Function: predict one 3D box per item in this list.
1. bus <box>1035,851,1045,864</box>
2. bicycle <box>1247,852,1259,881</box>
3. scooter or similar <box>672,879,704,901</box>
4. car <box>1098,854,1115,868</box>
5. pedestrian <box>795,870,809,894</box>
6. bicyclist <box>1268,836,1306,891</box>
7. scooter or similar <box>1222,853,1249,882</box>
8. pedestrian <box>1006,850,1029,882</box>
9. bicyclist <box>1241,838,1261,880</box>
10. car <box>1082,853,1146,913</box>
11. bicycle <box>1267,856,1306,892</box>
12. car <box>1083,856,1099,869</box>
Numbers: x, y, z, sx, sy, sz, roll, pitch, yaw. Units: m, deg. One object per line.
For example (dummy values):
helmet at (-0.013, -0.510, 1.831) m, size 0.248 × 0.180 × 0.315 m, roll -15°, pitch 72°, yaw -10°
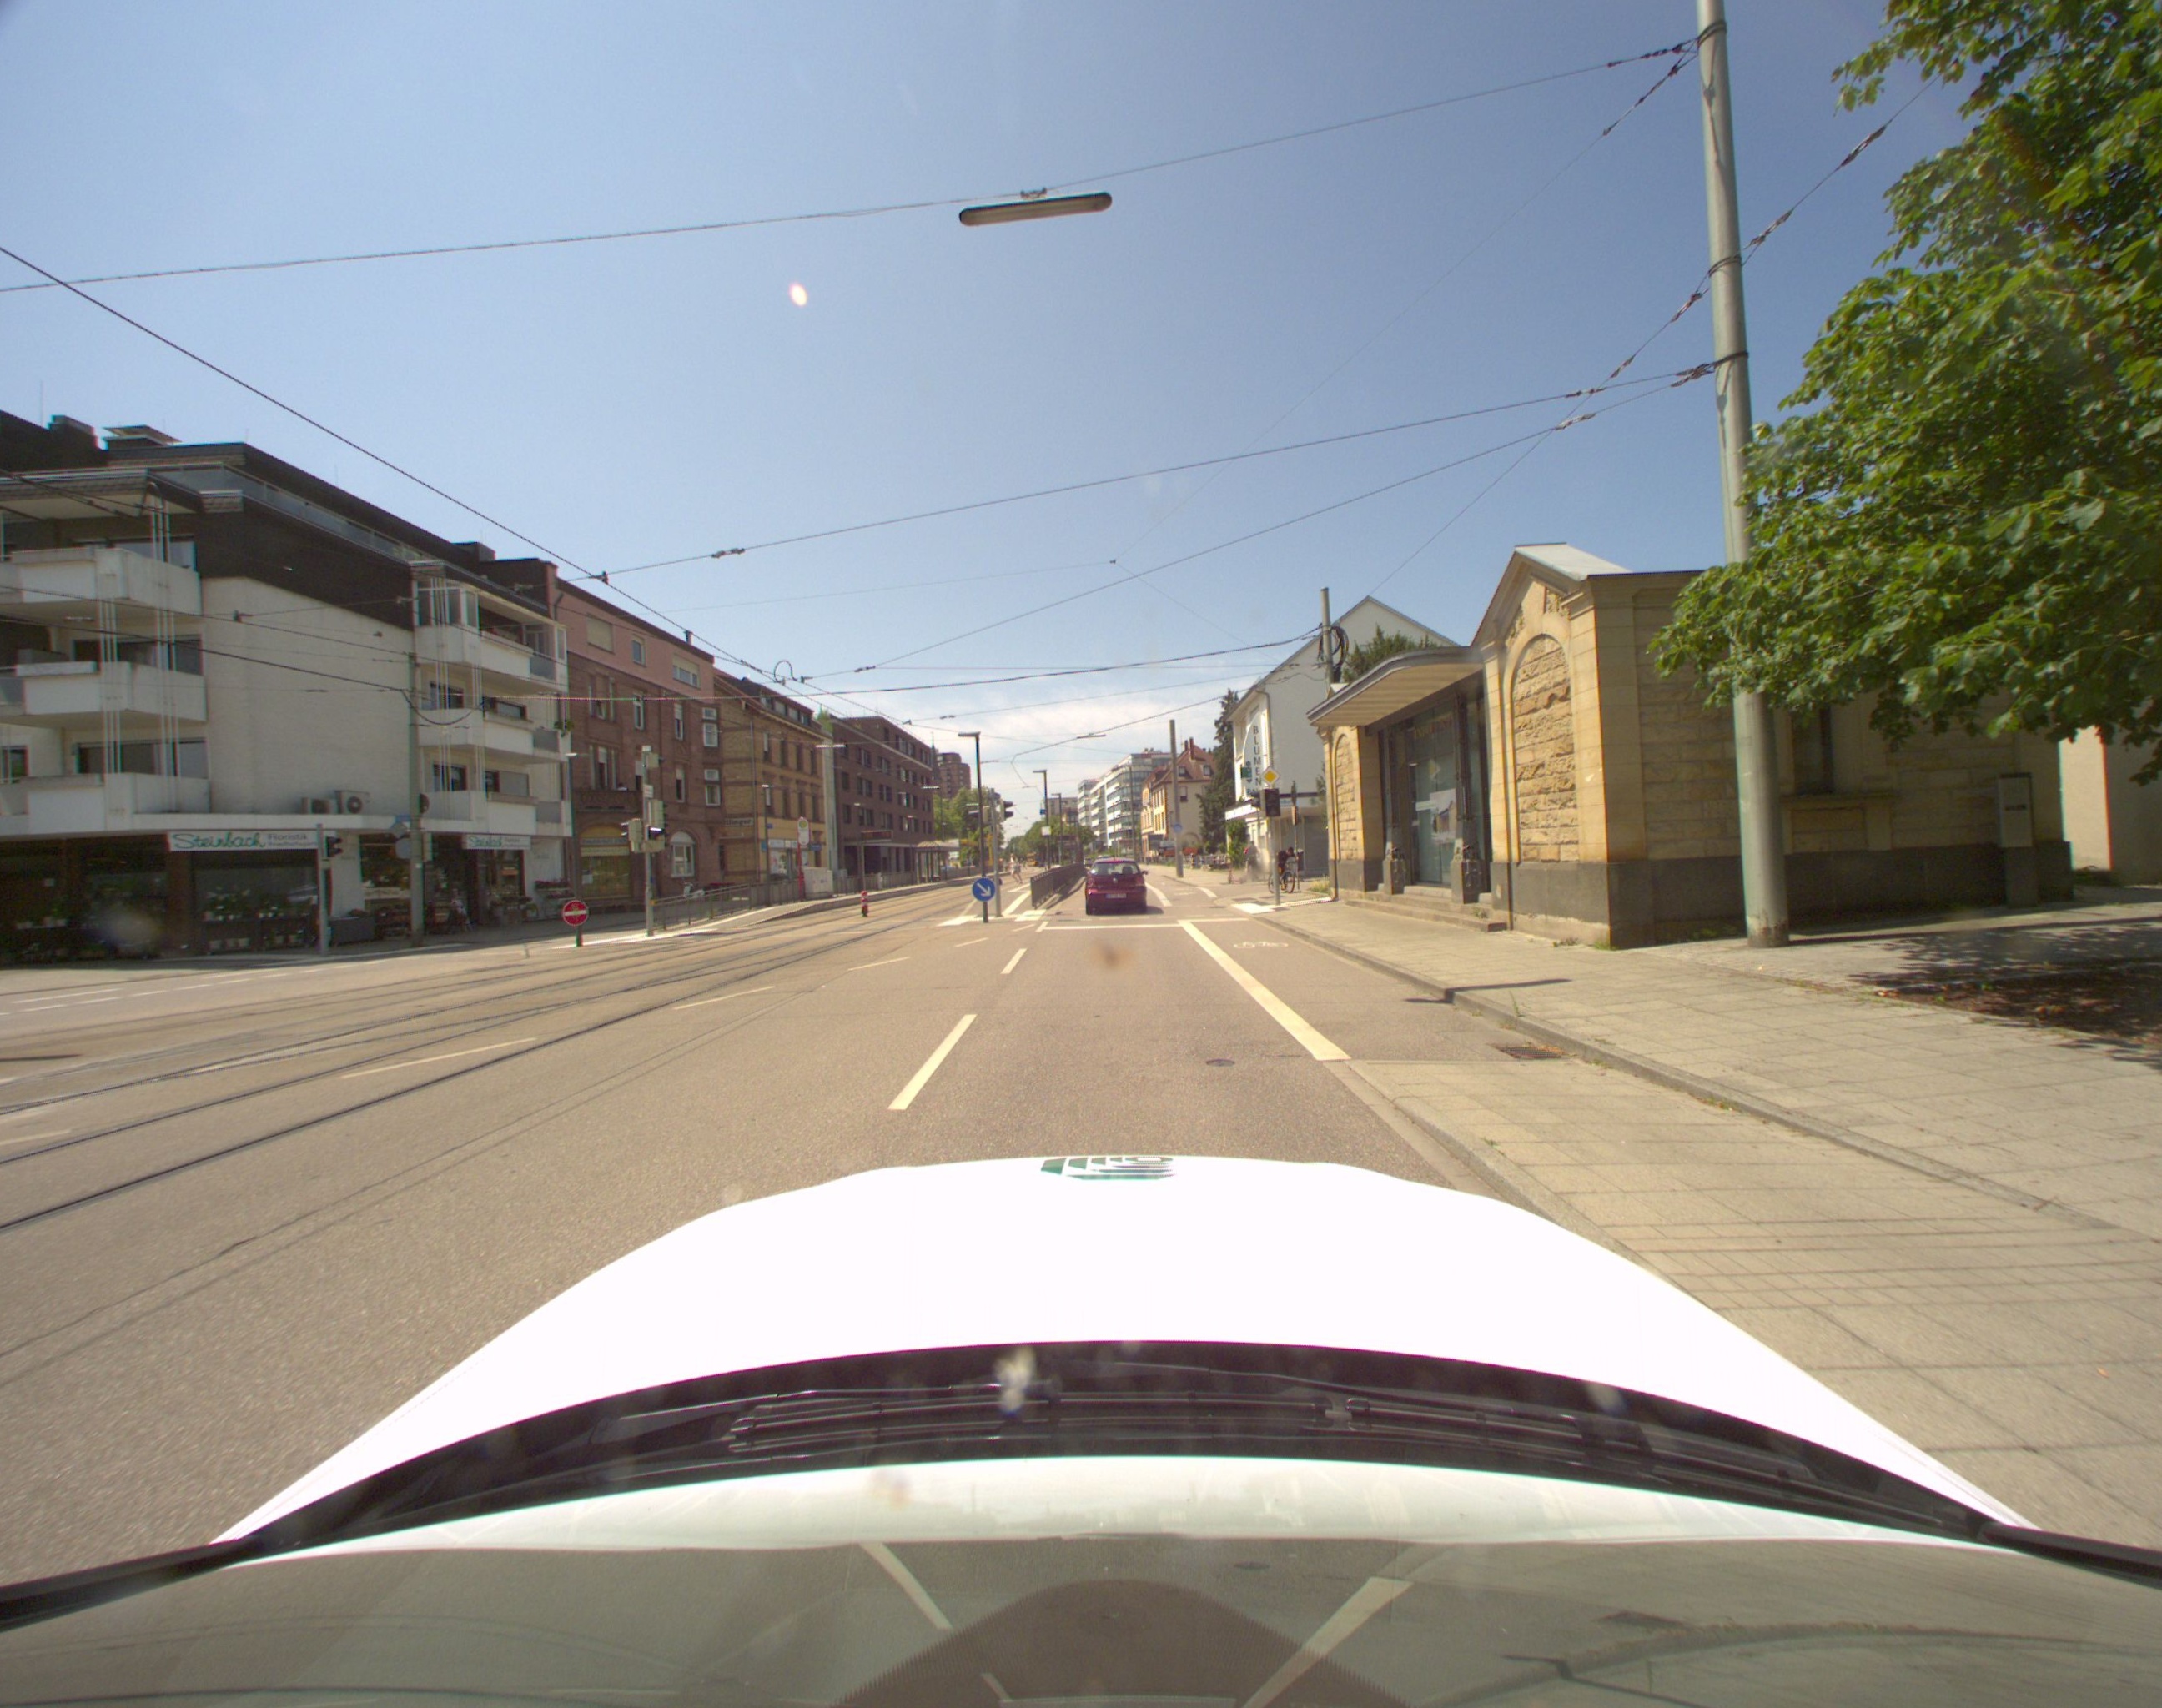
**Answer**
bus at (-10.013, 0.917, 200.215) m, size 2.141 × 3.003 × 6.562 m, roll -3°, pitch -1°, yaw -5°
bicycle at (7.555, 0.516, 35.731) m, size 0.372 × 1.197 × 1.912 m, roll -3°, pitch 0°, yaw 14°
scooter or similar at (-20.712, 1.892, 42.927) m, size 0.484 × 1.082 × 1.584 m, roll -3°, pitch 0°, yaw 18°
car at (3.158, 0.855, 101.505) m, size 1.987 × 1.624 × 4.631 m, roll -3°, pitch 0°, yaw 0°
pedestrian at (-18.549, 1.866, 54.113) m, size 0.612 × 1.560 × 0.640 m, roll -3°, pitch 0°, yaw 1°
bicyclist at (6.471, 0.283, 25.637) m, size 0.829 × 1.618 × 0.860 m, roll -7°, pitch 0°, yaw 1°
scooter or similar at (6.614, 0.586, 34.846) m, size 0.340 × 1.178 × 1.457 m, roll -3°, pitch -1°, yaw -22°
pedestrian at (-3.458, 0.673, 44.199) m, size 1.098 × 1.674 × 0.762 m, roll -3°, pitch -1°, yaw -12°
bicyclist at (7.463, 0.213, 35.803) m, size 0.722 × 1.760 × 0.927 m, roll -3°, pitch 0°, yaw 14°
car at (0.871, 0.747, 22.270) m, size 1.556 × 1.453 × 3.062 m, roll -3°, pitch -1°, yaw 1°
bicycle at (6.416, 0.607, 25.537) m, size 0.666 × 1.002 × 1.864 m, roll -7°, pitch 1°, yaw 1°
car at (1.551, 1.310, 129.847) m, size 1.991 × 1.848 × 3.992 m, roll -3°, pitch 0°, yaw -6°
